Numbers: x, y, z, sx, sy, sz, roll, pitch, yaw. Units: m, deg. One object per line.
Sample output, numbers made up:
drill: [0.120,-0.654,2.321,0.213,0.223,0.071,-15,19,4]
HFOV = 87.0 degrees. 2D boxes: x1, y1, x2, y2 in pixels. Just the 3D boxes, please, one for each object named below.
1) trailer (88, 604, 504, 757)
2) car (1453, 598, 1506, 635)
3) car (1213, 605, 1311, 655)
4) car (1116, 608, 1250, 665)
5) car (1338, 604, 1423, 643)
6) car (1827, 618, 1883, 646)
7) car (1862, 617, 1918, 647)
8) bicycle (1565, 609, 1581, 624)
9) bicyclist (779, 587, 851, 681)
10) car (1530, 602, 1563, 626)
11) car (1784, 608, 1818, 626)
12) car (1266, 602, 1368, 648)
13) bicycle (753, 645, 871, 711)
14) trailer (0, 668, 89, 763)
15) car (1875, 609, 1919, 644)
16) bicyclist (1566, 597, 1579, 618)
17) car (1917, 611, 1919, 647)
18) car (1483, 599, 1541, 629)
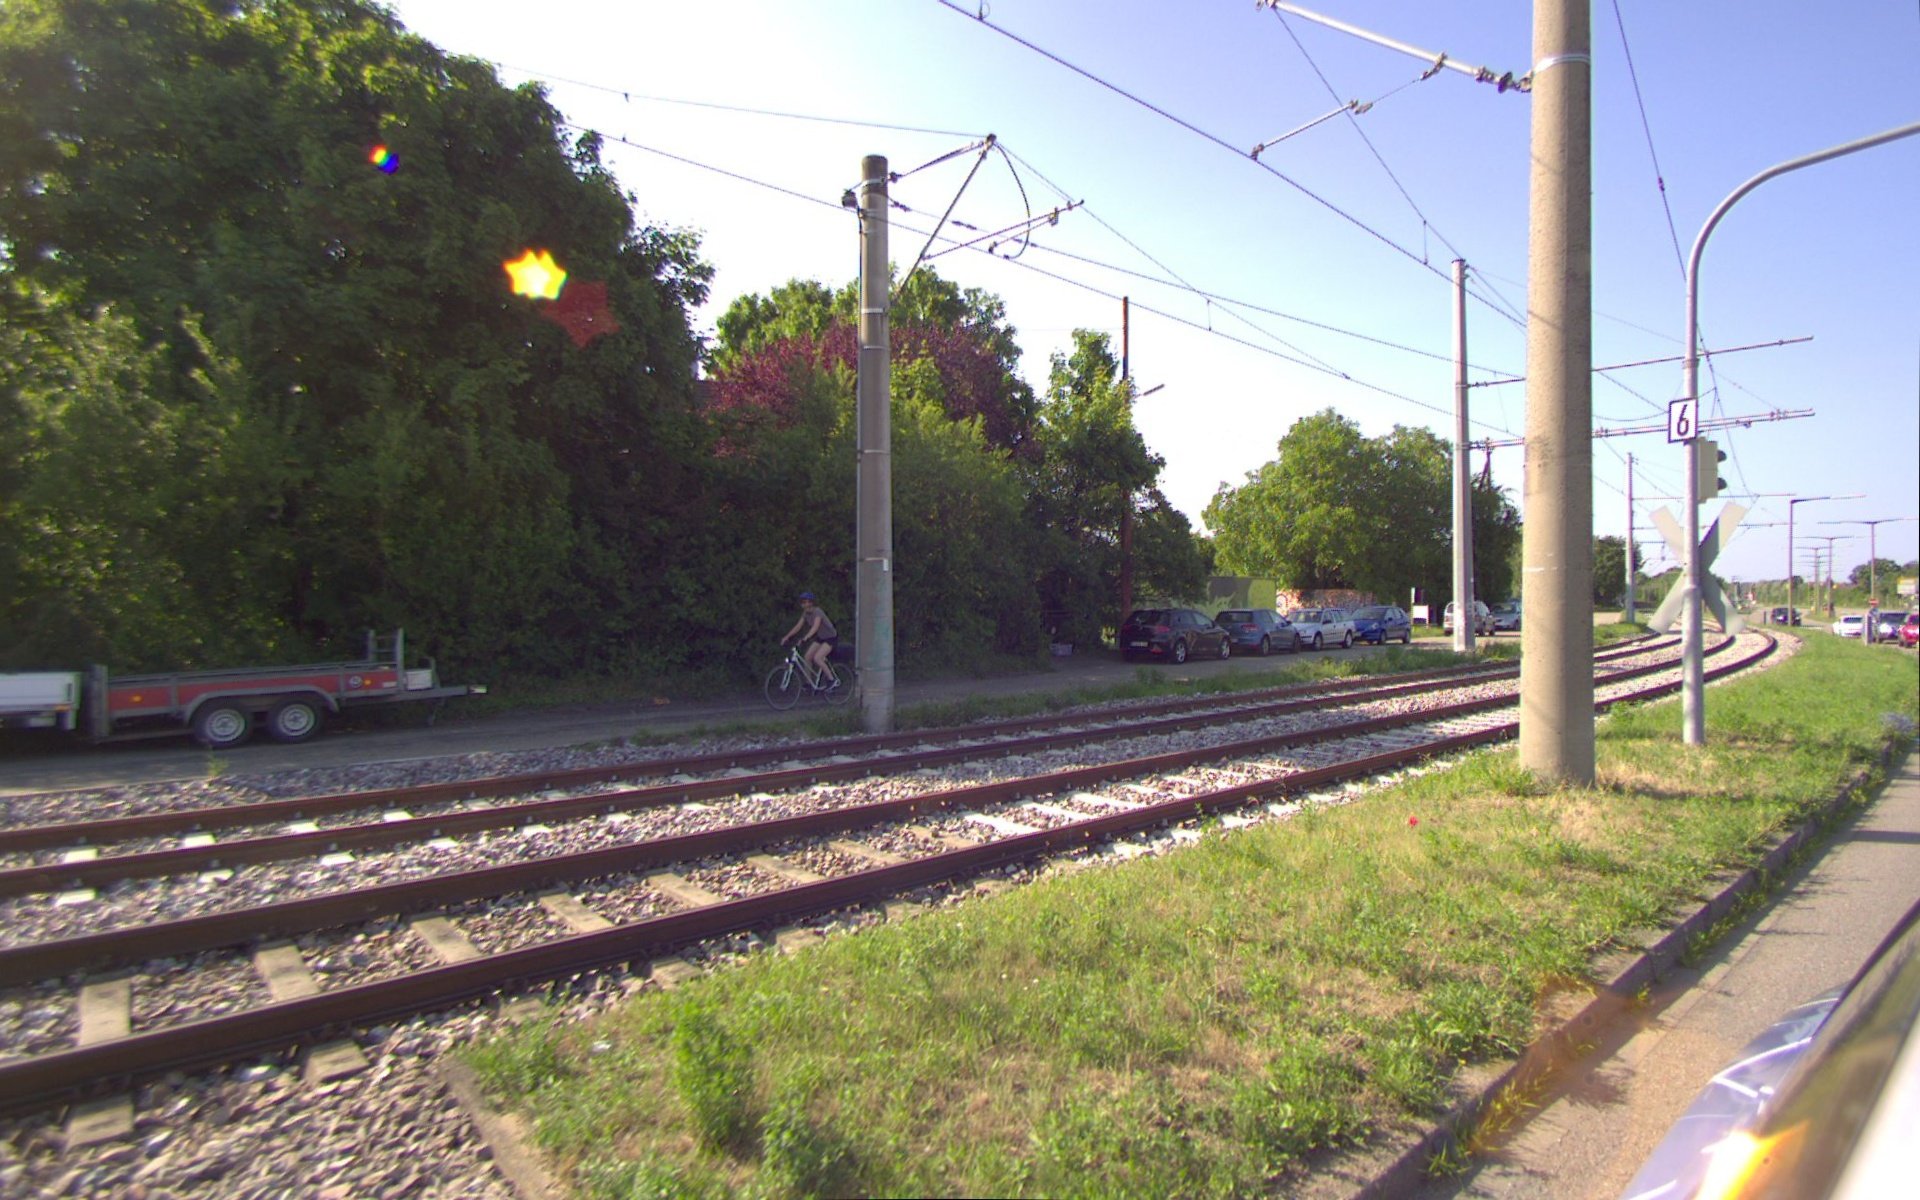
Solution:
trailer: [-8.301,0.893,12.882,4.184,1.617,2.030,0,-2,-40]
car: [24.668,0.771,48.018,1.518,1.630,4.424,1,0,37]
car: [9.410,0.883,31.392,1.482,1.419,4.091,1,0,39]
car: [6.192,0.937,27.779,1.621,1.428,4.453,-2,-1,42]
car: [16.451,0.903,39.551,3.846,1.448,1.679,1,-2,-44]
car: [56.166,1.951,63.570,1.955,1.639,4.257,-1,-1,33]
car: [49.512,1.678,53.972,1.598,1.532,4.214,-2,-2,35]
bicycle: [37.575,1.025,62.057,0.641,0.921,1.789,-1,-1,37]
bicyclist: [-2.294,0.524,16.032,0.946,1.440,0.630,1,-1,-42]
car: [38.960,0.921,67.152,1.529,1.466,4.078,1,0,35]
car: [72.792,1.486,87.656,1.825,1.532,4.102,-1,-1,34]
car: [12.467,0.835,35.204,1.710,1.484,4.319,1,0,44]
bicycle: [-2.321,1.198,15.993,1.812,0.921,0.643,0,-1,-42]
trailer: [-11.432,1.255,10.432,3.661,0.951,1.734,0,-3,-40]
car: [44.671,1.241,47.734,1.838,1.617,3.688,-2,-2,37]
bicyclist: [37.569,0.455,62.062,0.638,1.249,0.780,-1,-1,37]
car: [37.106,1.091,37.593,1.839,1.373,4.096,-2,-2,38]
car: [31.401,0.791,57.541,1.906,1.610,4.655,1,0,42]
